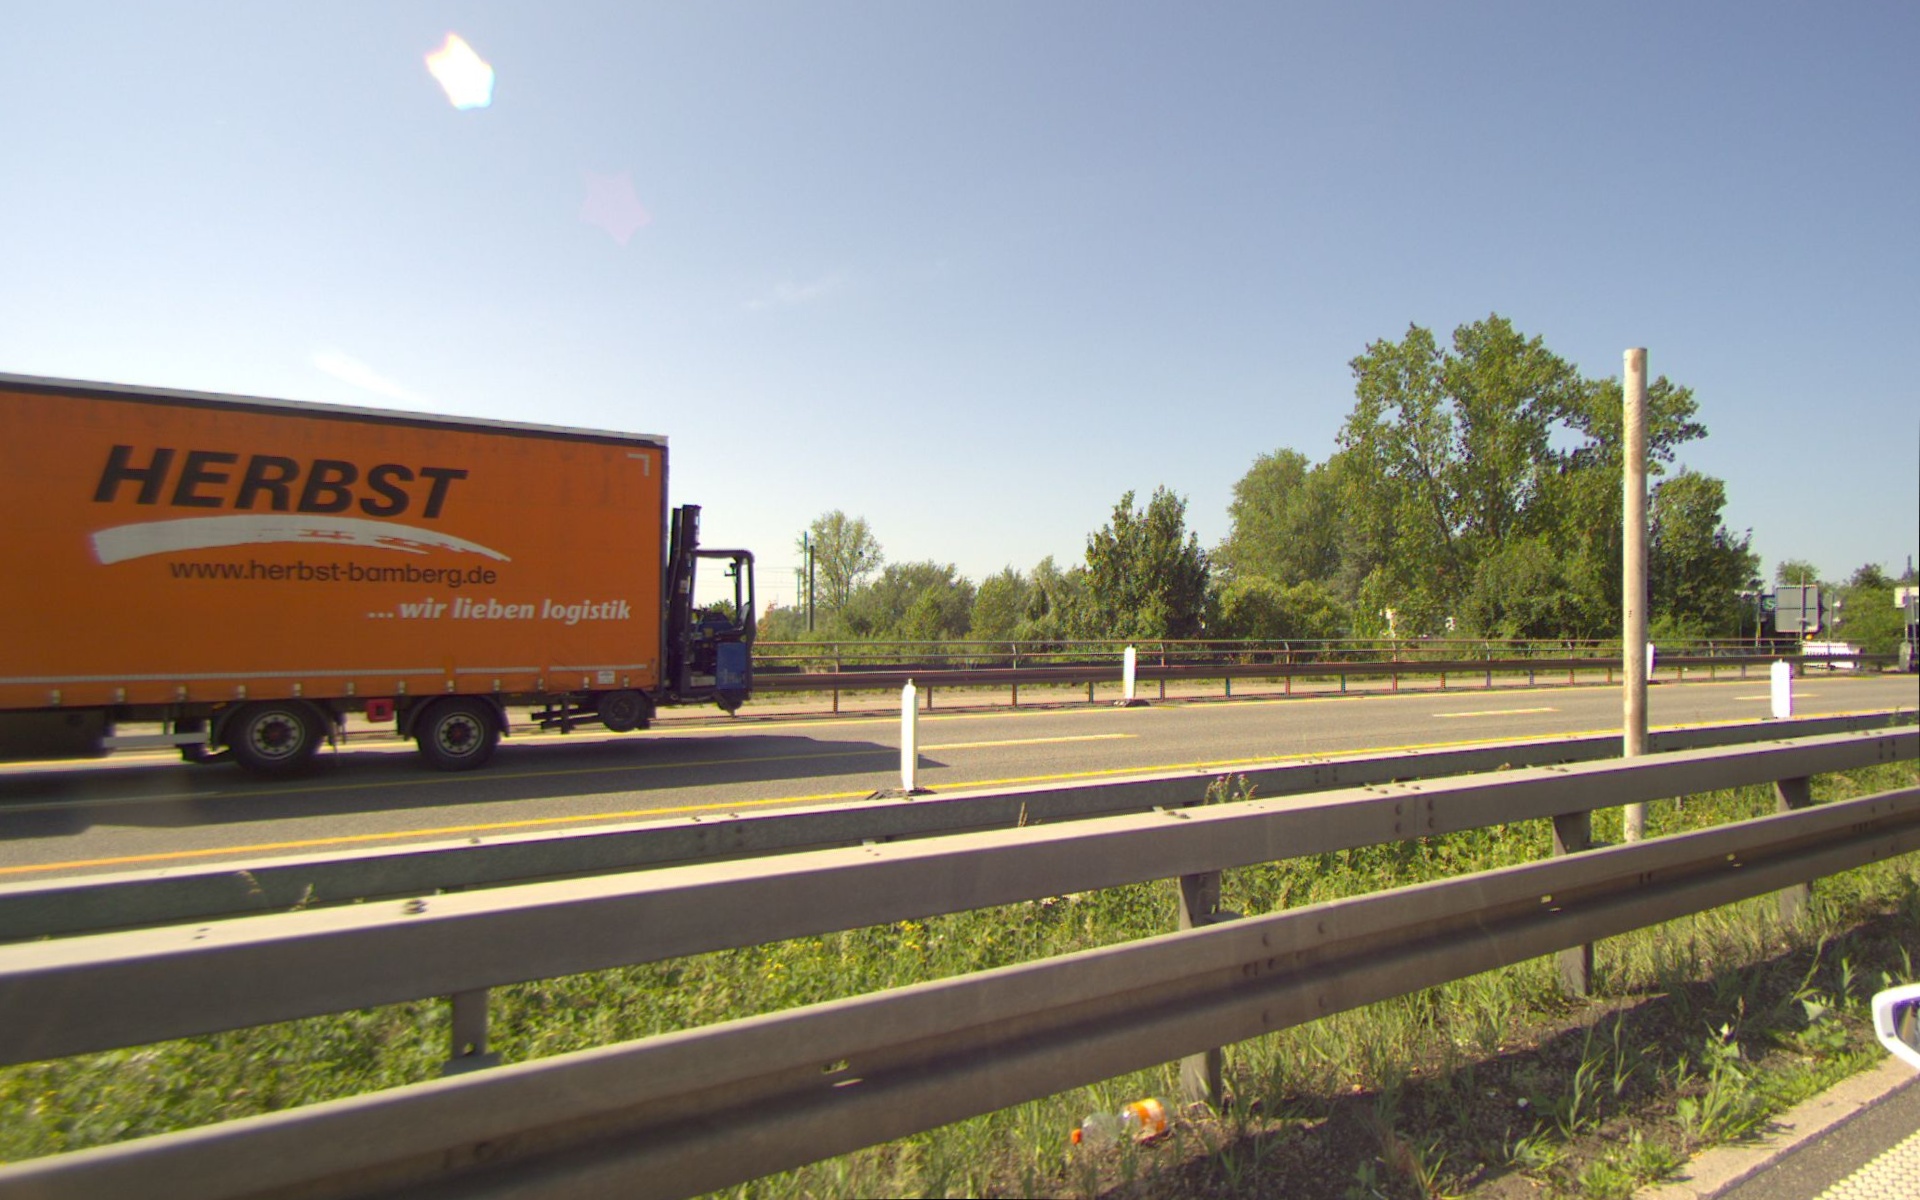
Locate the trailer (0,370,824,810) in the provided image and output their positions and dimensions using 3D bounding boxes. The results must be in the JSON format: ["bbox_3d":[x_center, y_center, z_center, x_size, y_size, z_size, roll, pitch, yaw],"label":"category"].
[{"bbox_3d":[-6.768,-0.059,12.490,9.670,4.146,3.024,1,0,-30],"label":"trailer"}]
